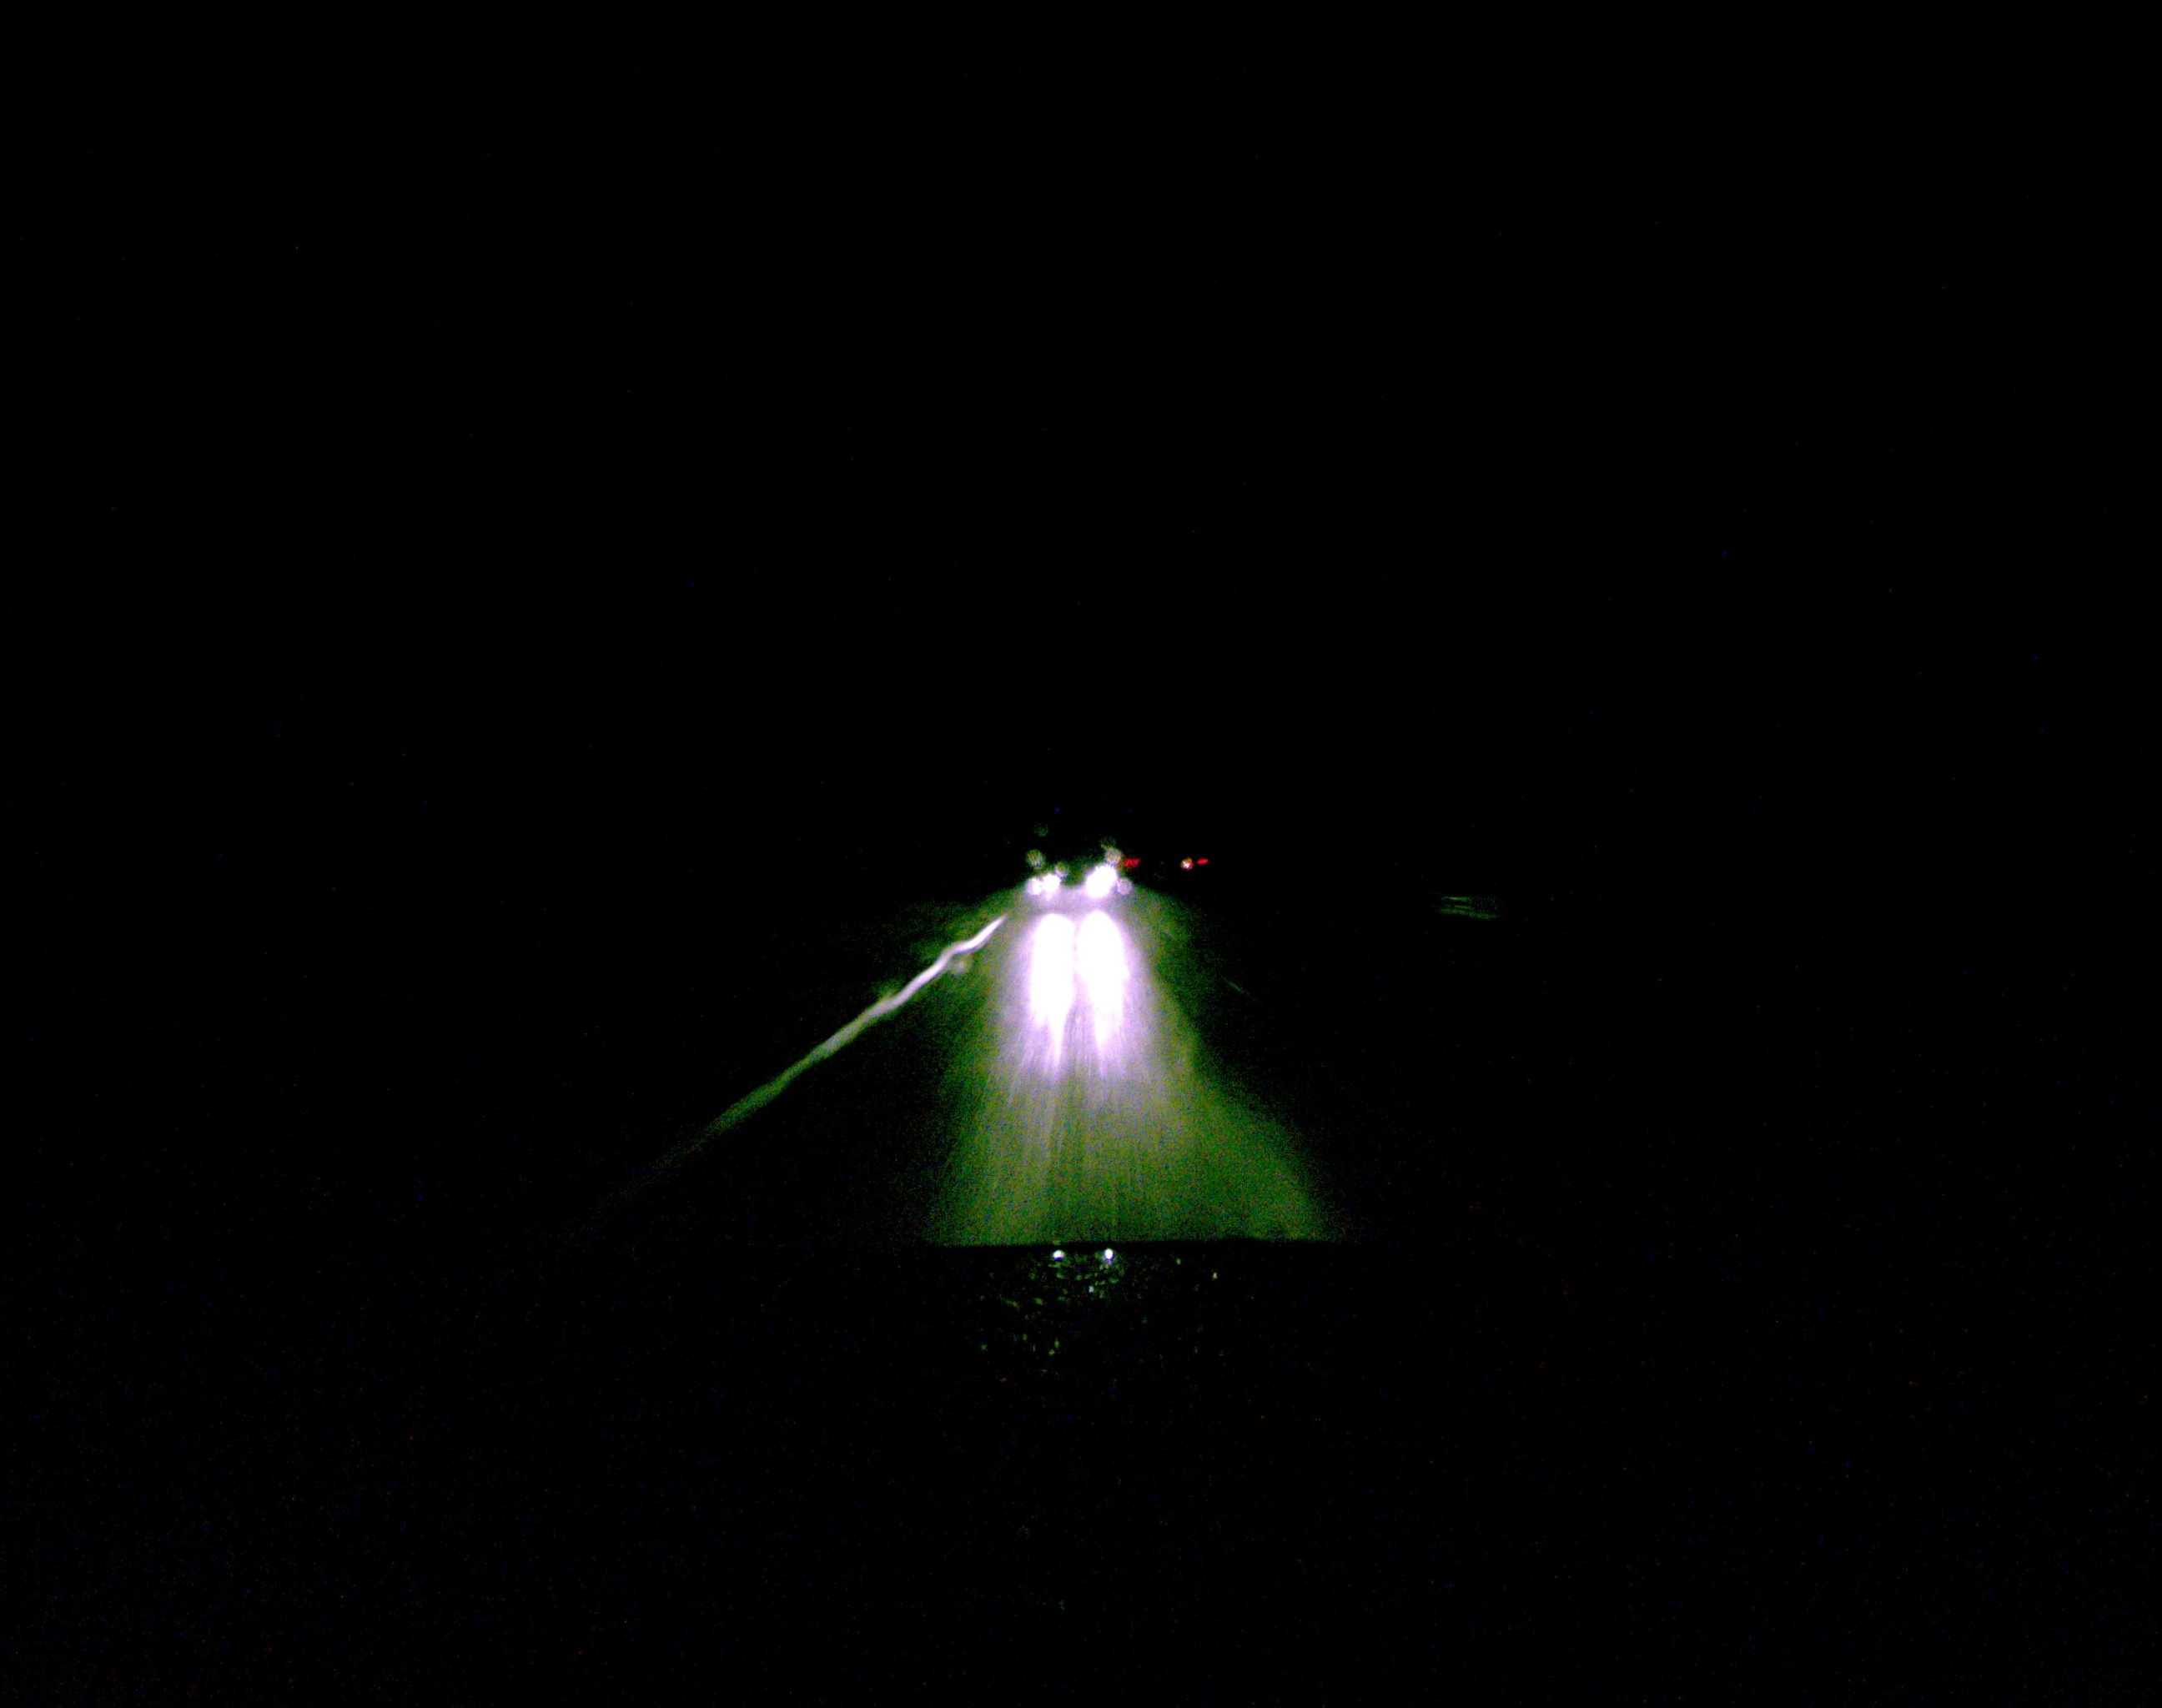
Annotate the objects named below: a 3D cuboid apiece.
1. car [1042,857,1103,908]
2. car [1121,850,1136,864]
[{"bbox_3d":[-0.205,0.902,25.487,1.744,1.501,3.601,-2,0,3],"label":"car"},{"bbox_3d":[6.335,0.441,102.137,1.840,1.833,4.001,0,-1,1],"label":"car"}]
